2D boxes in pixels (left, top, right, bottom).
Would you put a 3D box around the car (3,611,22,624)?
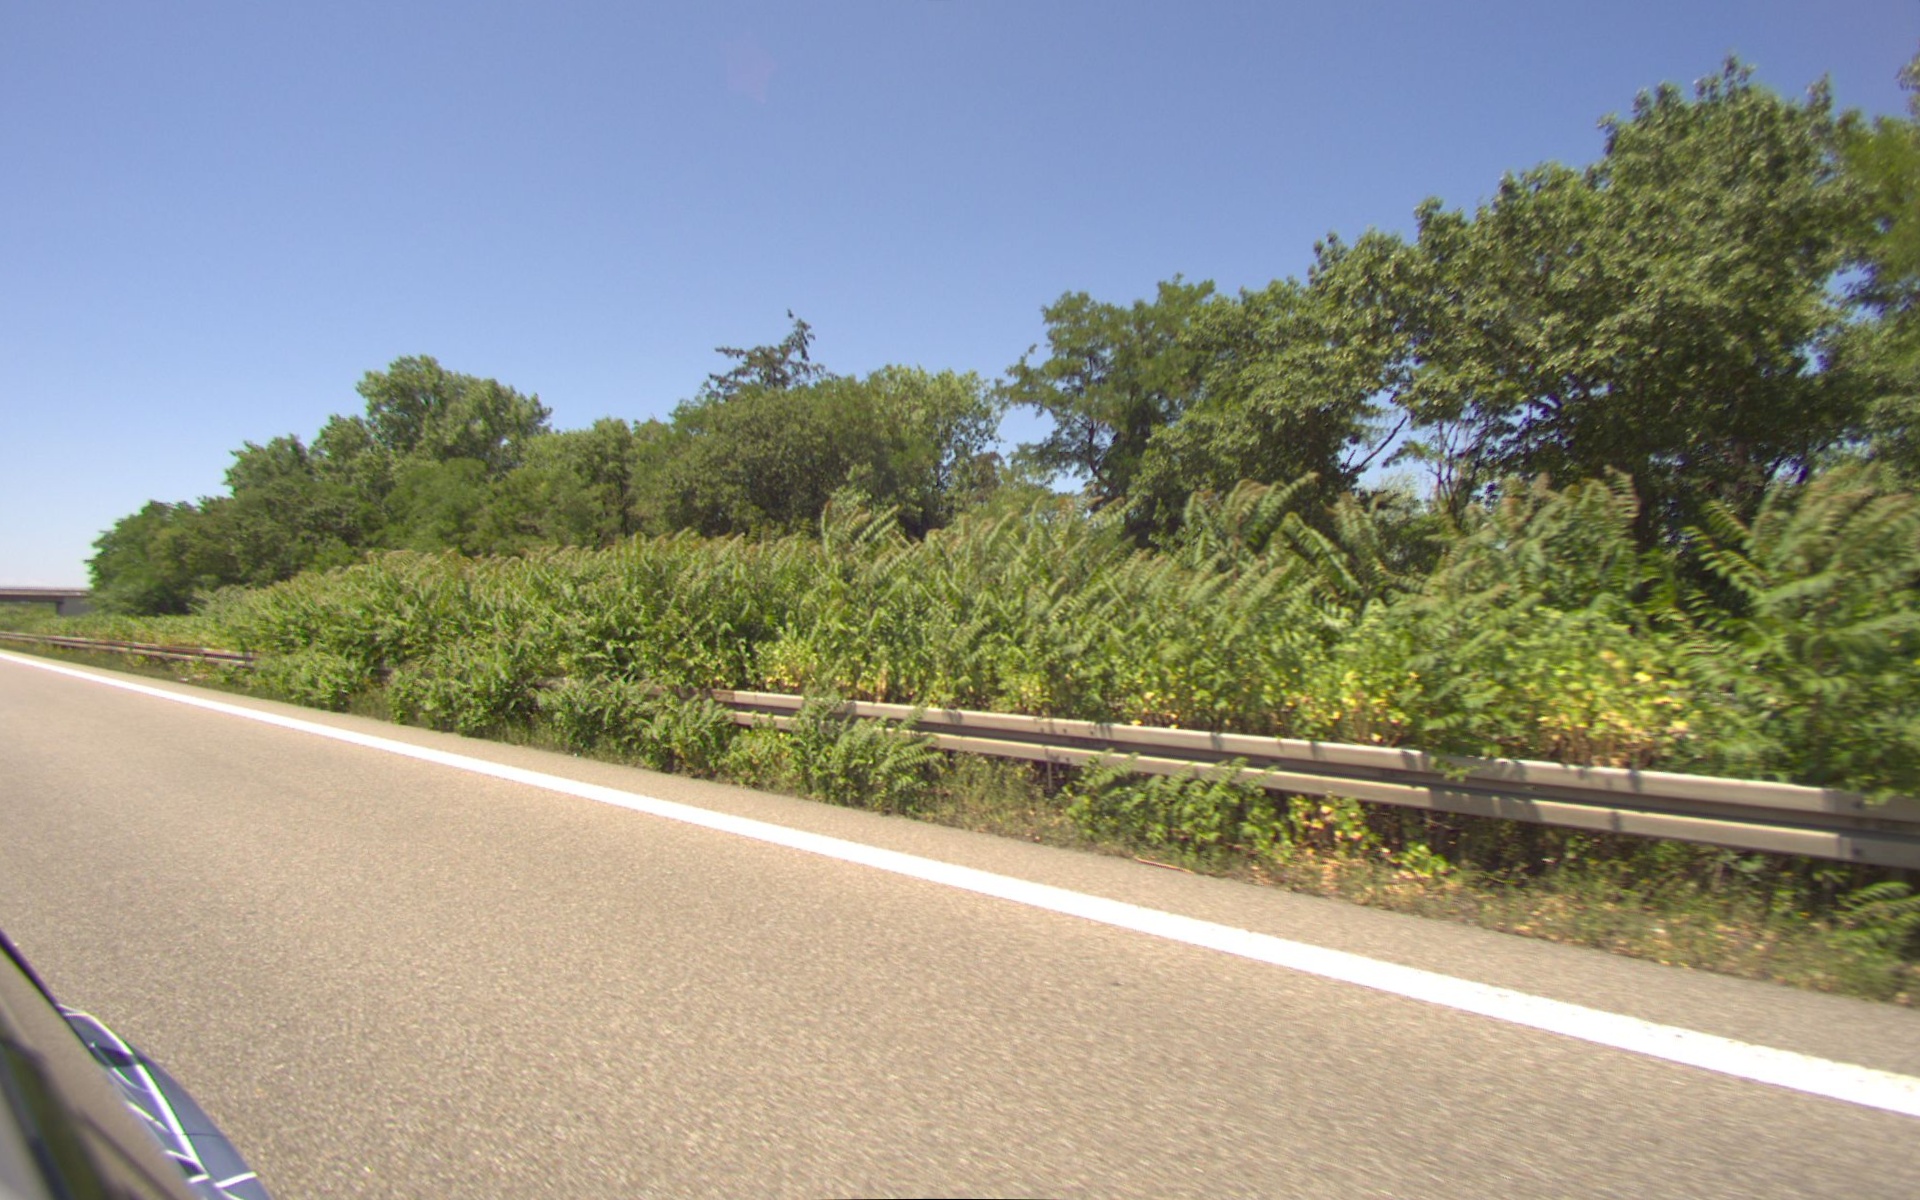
[{"bbox_3d":[-156.777,2.851,167.398,4.001,2.029,1.971,-1,-2,44],"label":"car"}]
